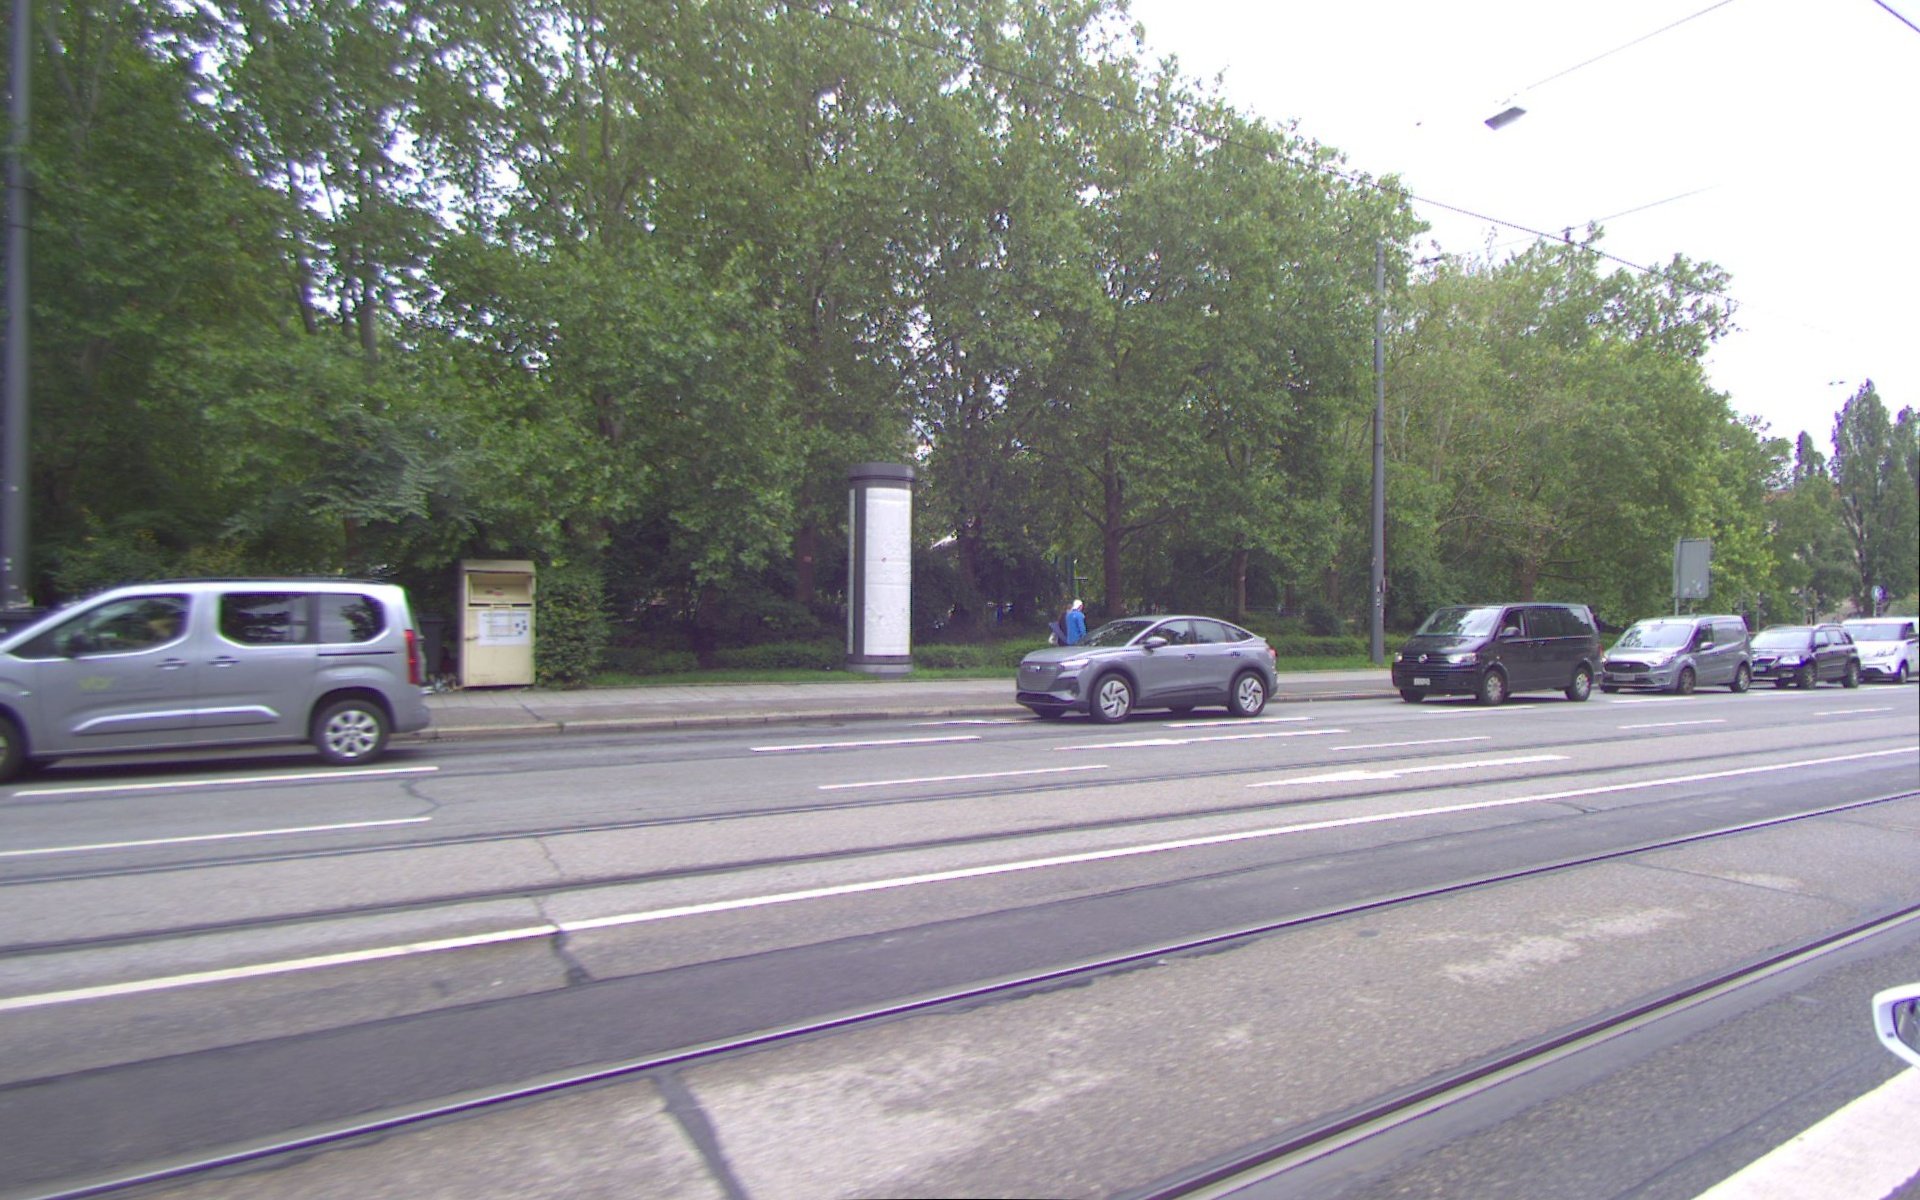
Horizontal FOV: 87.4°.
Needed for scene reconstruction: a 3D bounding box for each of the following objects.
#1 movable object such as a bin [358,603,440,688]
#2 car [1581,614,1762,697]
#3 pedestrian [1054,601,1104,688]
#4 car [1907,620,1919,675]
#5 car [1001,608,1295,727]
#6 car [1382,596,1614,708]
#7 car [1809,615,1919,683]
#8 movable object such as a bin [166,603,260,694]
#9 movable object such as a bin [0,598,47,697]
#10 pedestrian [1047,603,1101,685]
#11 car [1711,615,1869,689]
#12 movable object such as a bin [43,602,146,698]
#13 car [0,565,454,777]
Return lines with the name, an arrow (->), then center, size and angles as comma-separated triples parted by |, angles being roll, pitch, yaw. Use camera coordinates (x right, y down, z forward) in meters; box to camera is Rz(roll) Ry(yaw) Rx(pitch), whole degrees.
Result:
movable object such as a bin -> -9.714, 0.766, 17.382 | 1.147, 1.371, 0.928 | 1, 2, -34
car -> 16.914, 1.297, 23.837 | 4.466, 1.812, 1.791 | 1, -3, -30
pedestrian -> 2.532, 0.935, 21.426 | 0.806, 1.813, 0.663 | 1, 0, -22
car -> 33.541, 1.551, 32.949 | 4.450, 1.812, 1.797 | 1, -3, -21
car -> 3.031, 1.004, 15.898 | 4.534, 1.656, 1.791 | 1, -2, -30
car -> 10.853, 1.011, 20.172 | 4.980, 2.017, 1.791 | 1, -1, -30
car -> 27.278, 1.447, 29.802 | 4.577, 1.885, 1.791 | 1, -3, -31
movable object such as a bin -> -11.953, 0.758, 16.122 | 1.147, 1.371, 0.928 | 1, 2, -34
movable object such as a bin -> -14.315, 0.689, 14.845 | 1.072, 1.371, 0.928 | 1, 4, -34
pedestrian -> 2.455, 0.932, 21.648 | 0.973, 1.707, 0.663 | -1, 1, -22
car -> 22.041, 1.365, 26.640 | 4.466, 1.812, 1.791 | 1, -3, -30
movable object such as a bin -> -13.245, 0.738, 15.414 | 1.072, 1.371, 0.928 | 1, 2, -34
car -> -7.557, 0.646, 9.970 | 4.420, 1.803, 1.791 | 1, -1, -30
